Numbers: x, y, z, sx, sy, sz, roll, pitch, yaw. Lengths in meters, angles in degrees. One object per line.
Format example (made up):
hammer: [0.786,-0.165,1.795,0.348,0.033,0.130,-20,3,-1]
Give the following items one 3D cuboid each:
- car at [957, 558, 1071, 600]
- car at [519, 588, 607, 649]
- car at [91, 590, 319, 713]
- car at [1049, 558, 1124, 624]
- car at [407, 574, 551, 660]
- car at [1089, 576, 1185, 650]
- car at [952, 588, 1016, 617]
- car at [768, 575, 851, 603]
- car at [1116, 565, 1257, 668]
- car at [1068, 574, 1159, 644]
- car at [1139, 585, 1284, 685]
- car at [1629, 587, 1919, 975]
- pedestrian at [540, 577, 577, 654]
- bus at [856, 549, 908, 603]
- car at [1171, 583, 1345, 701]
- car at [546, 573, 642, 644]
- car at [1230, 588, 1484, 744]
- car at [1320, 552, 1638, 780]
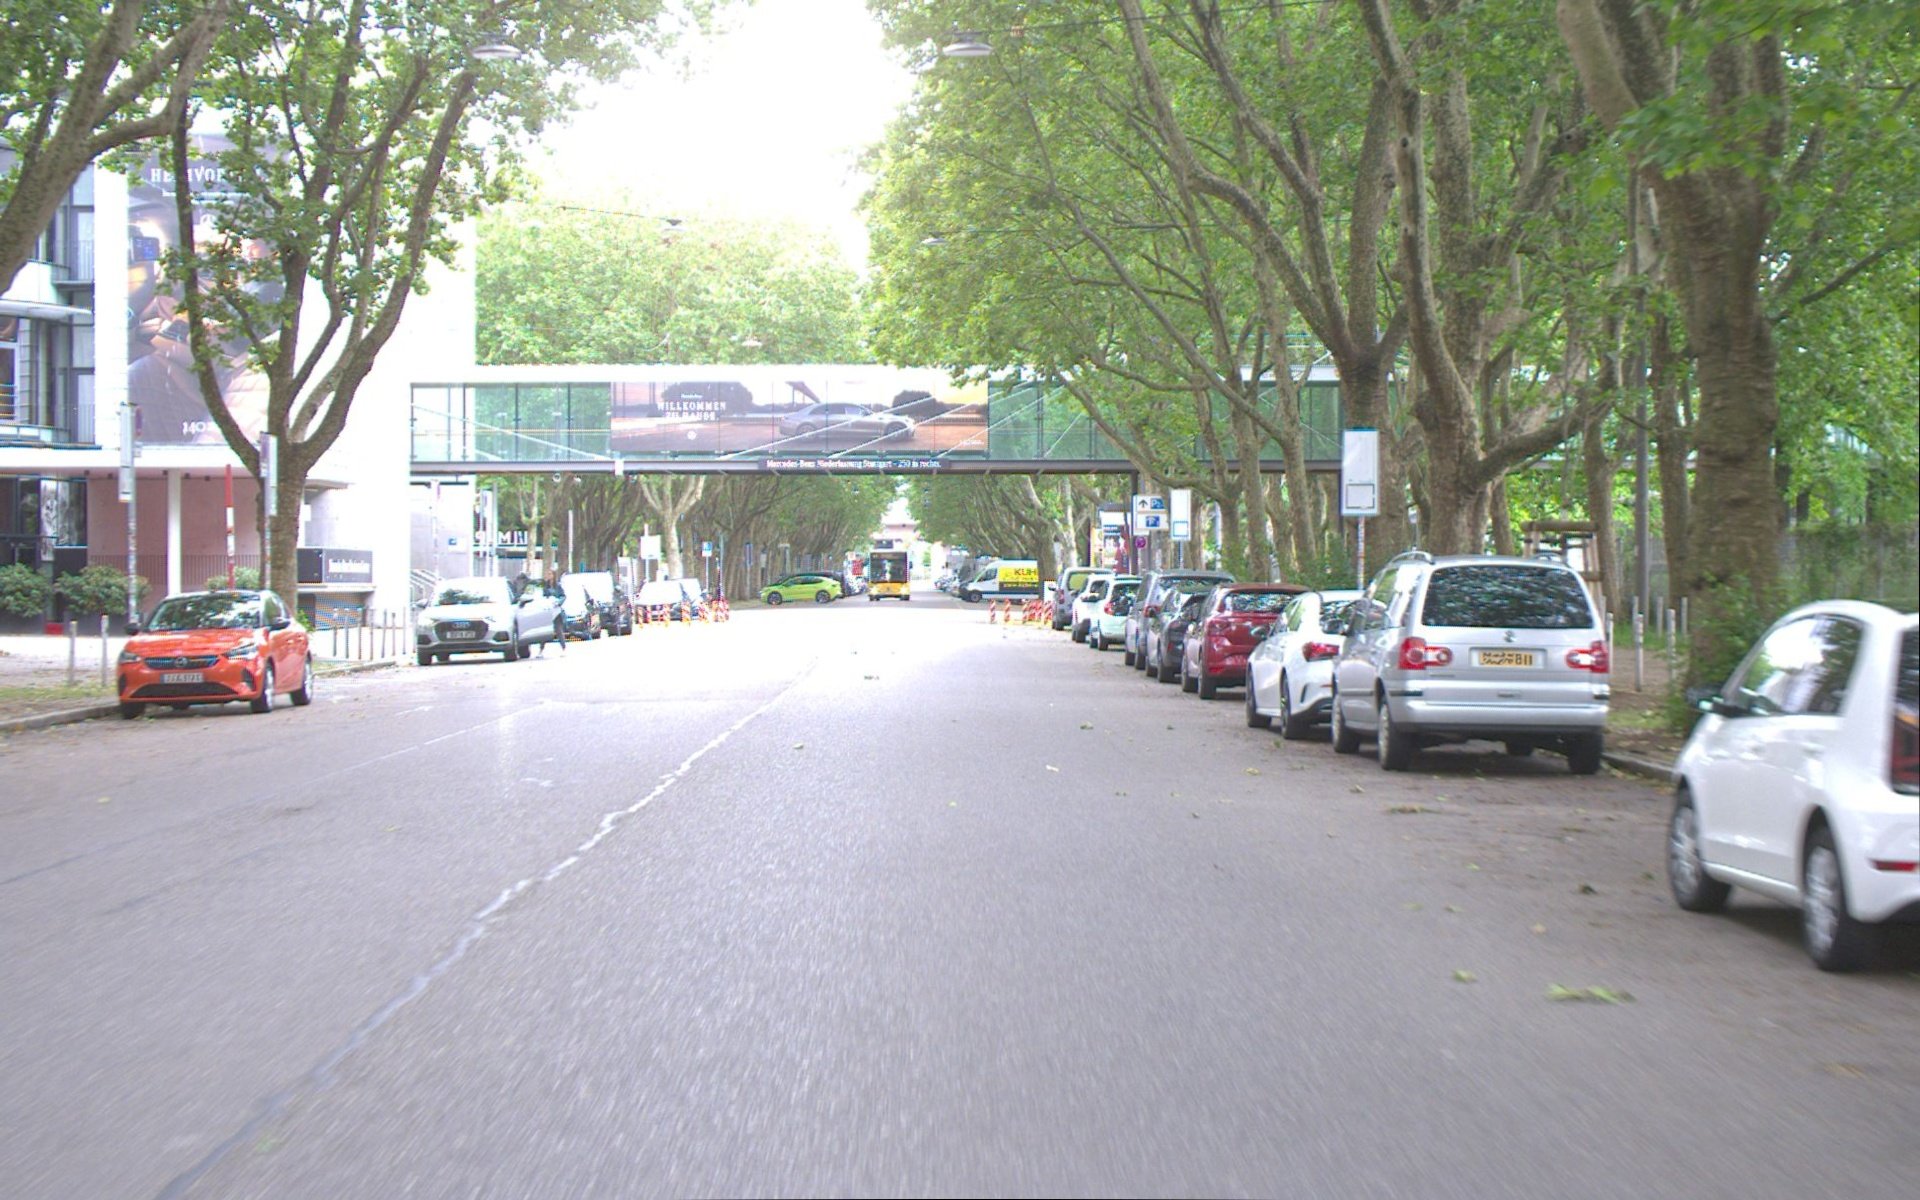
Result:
car: [3.250,-1.278,208.052,6.822,2.505,2.317,0,0,-2]
car: [-10.123,0.447,87.833,1.704,1.415,4.325,-3,0,0]
car: [-8.799,0.573,40.353,1.808,1.349,4.000,0,0,0]
car: [3.575,-0.256,97.851,1.847,1.777,5.211,1,0,0]
car: [-9.018,0.300,64.846,2.073,1.557,4.756,0,0,0]
car: [3.750,0.269,73.454,1.807,1.521,4.096,0,0,0]
car: [1.489,0.163,215.503,3.987,1.788,1.543,0,0,-1]
car: [-8.651,-0.622,198.028,4.700,1.579,1.864,0,0,1]
car: [3.825,0.274,58.810,1.981,1.674,4.731,0,0,-1]
car: [3.605,0.208,81.398,1.914,1.612,4.749,0,0,0]
car: [3.750,0.498,51.910,1.877,1.422,4.479,0,0,0]
car: [4.130,0.685,14.718,1.707,1.422,3.889,1,0,0]
pedestrian: [-7.684,0.287,65.830,0.584,1.461,0.567,1,0,3]
bus: [-4.825,-1.455,212.603,3.038,3.149,12.677,-2,0,-1]
car: [3.869,0.517,45.237,1.856,1.476,4.177,0,0,-1]
car: [-9.878,0.201,93.123,2.034,1.783,4.908,-3,0,0]
car: [3.838,0.601,33.991,1.877,1.422,4.586,0,0,-1]
car: [4.207,0.490,28.543,1.903,1.733,4.506,0,0,-1]
